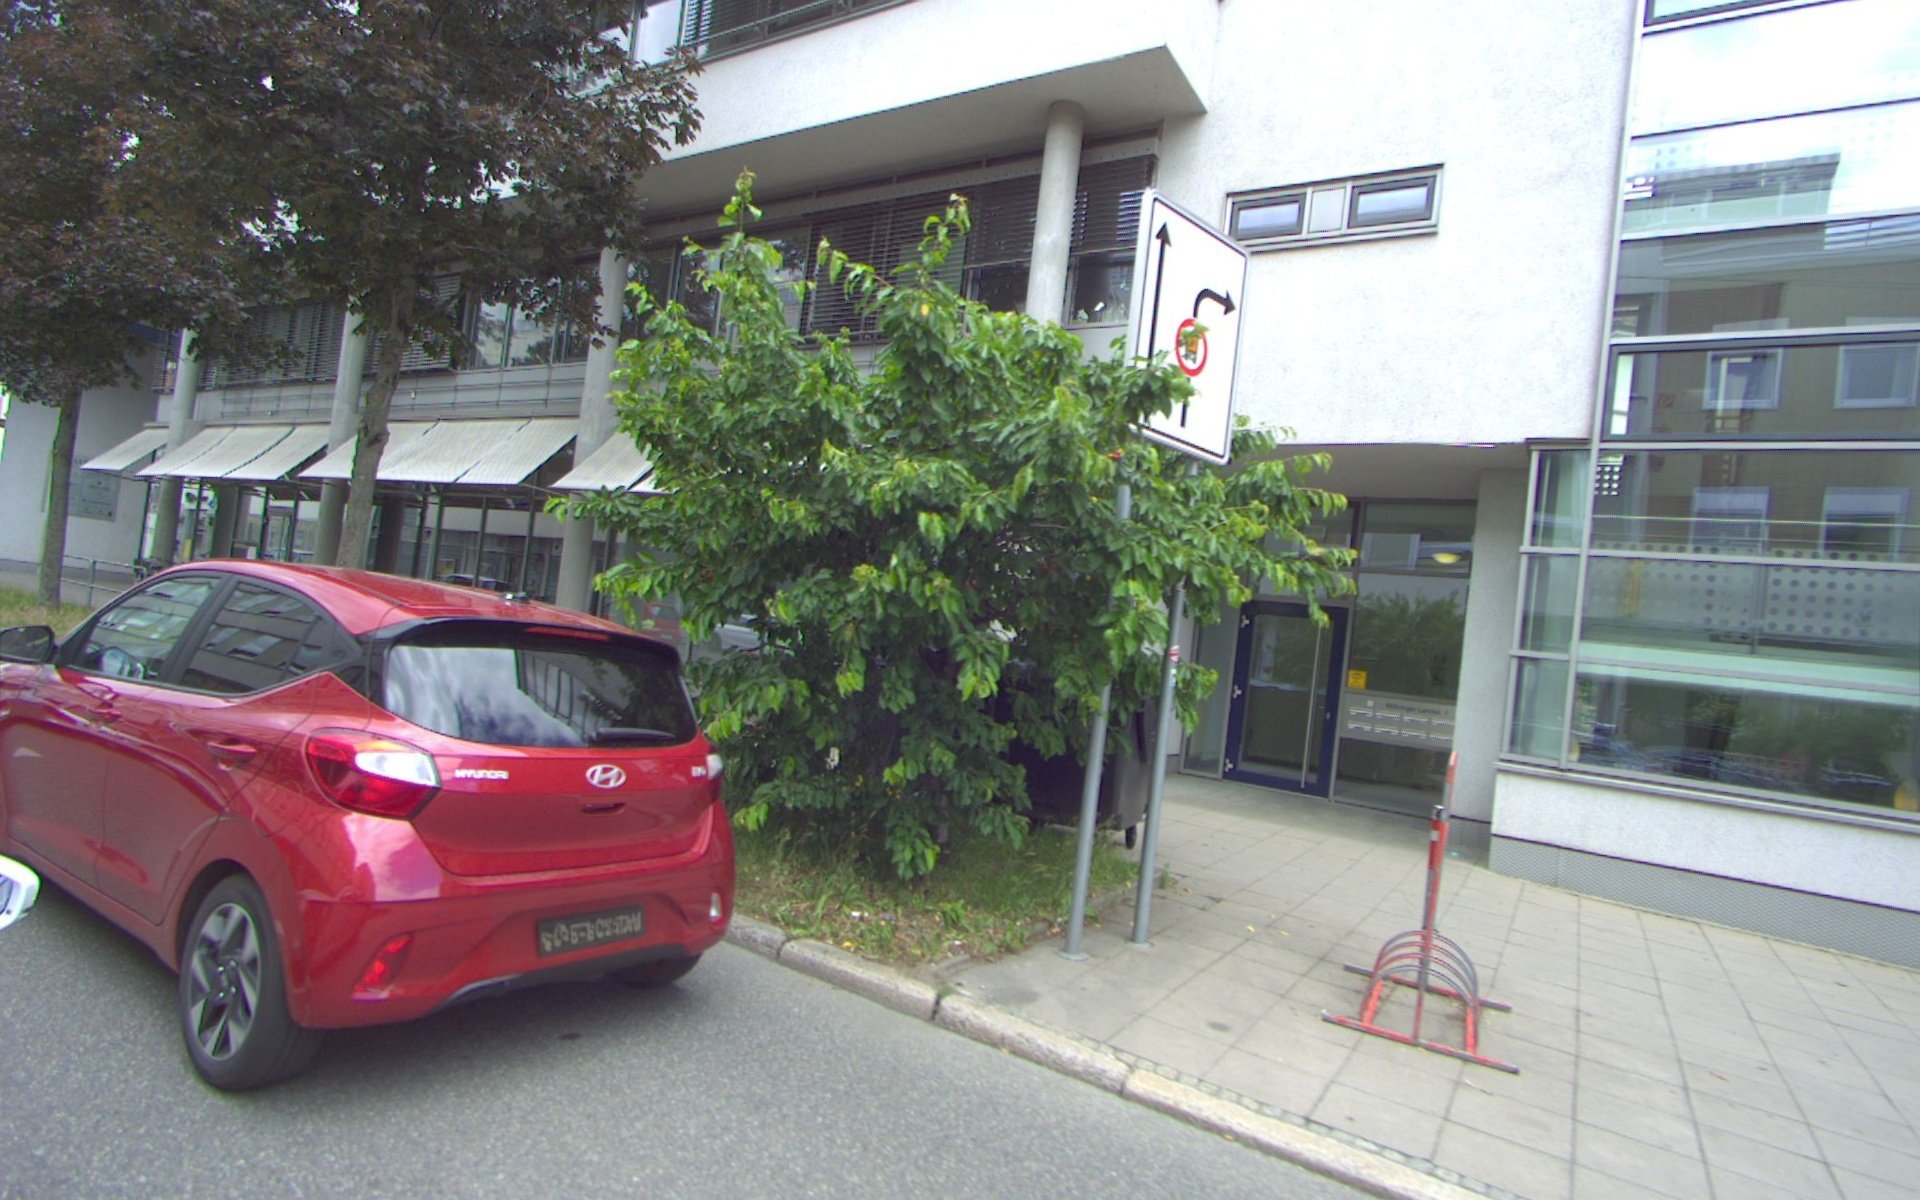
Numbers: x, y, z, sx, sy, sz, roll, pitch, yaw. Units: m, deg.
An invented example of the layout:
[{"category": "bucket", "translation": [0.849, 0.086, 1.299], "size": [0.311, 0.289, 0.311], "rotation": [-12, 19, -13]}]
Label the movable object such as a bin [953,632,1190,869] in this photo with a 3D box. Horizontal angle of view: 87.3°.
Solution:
[{"category": "movable object such as a bin", "translation": [0.859, 1.070, 7.633], "size": [1.311, 1.483, 1.099], "rotation": [6, 0, 31]}]

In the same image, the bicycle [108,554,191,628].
[{"category": "bicycle", "translation": [-14.159, -0.167, 17.551], "size": [1.994, 1.098, 0.361], "rotation": [6, -2, 31]}]

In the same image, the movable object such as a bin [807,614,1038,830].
[{"category": "movable object such as a bin", "translation": [-0.297, 0.951, 8.320], "size": [1.389, 1.483, 1.129], "rotation": [6, 0, 31]}]

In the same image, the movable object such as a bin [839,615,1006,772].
[{"category": "movable object such as a bin", "translation": [-0.402, 1.001, 11.075], "size": [1.311, 1.483, 1.123], "rotation": [6, 0, 31]}]

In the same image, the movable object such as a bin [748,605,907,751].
[{"category": "movable object such as a bin", "translation": [-1.541, 0.889, 11.769], "size": [1.311, 1.483, 1.099], "rotation": [6, 0, 31]}]

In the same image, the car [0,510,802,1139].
[{"category": "car", "translation": [-2.820, 0.561, 4.309], "size": [3.934, 1.467, 1.703], "rotation": [6, -4, 32]}]
